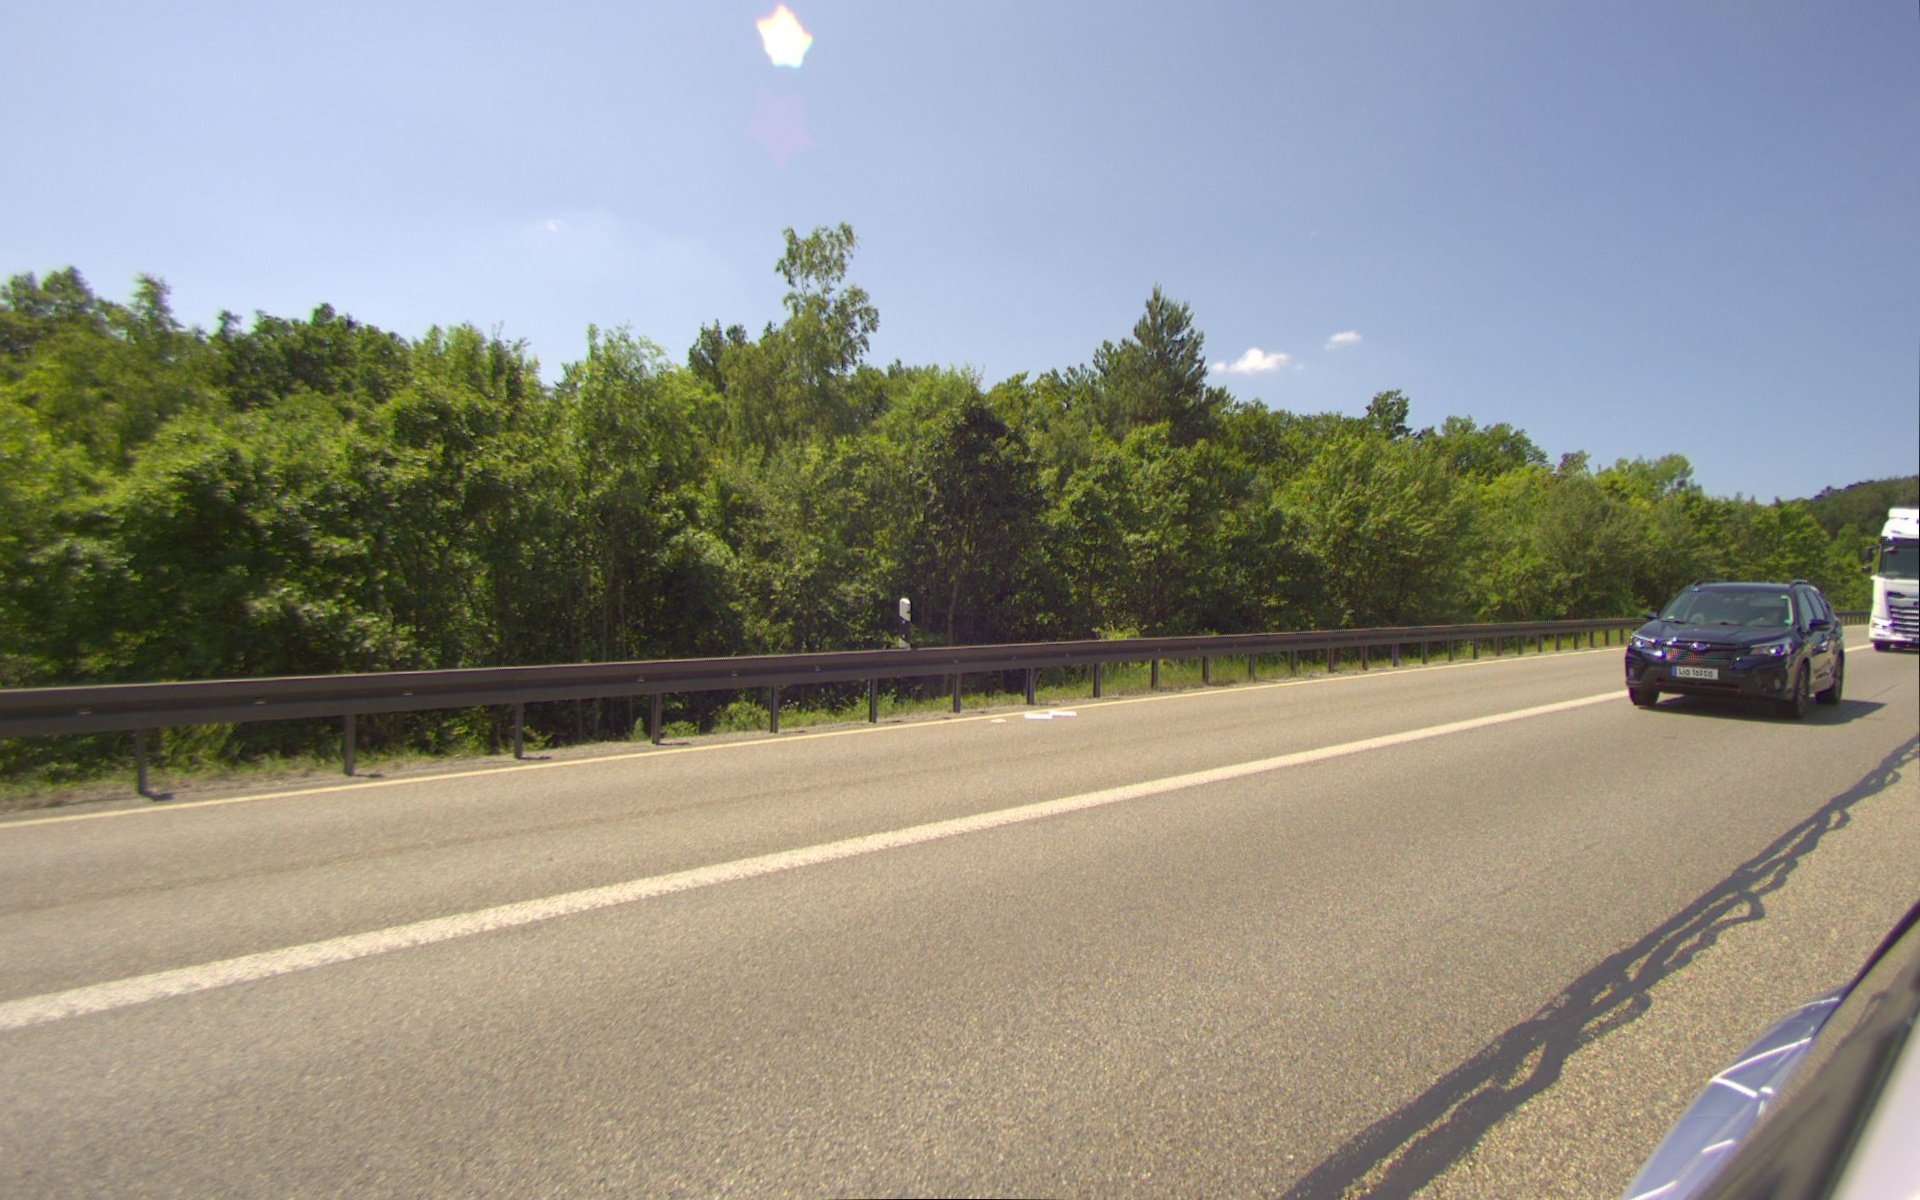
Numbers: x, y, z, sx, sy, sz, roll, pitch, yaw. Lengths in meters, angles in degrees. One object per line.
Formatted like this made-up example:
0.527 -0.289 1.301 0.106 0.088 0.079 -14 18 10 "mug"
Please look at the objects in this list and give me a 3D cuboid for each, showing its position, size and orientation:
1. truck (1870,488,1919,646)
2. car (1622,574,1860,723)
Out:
31.984 -0.862 31.917 15.981 4.221 2.788 0 1 -41 "truck"
10.671 0.520 13.723 4.132 1.688 1.814 -1 3 -42 "car"
